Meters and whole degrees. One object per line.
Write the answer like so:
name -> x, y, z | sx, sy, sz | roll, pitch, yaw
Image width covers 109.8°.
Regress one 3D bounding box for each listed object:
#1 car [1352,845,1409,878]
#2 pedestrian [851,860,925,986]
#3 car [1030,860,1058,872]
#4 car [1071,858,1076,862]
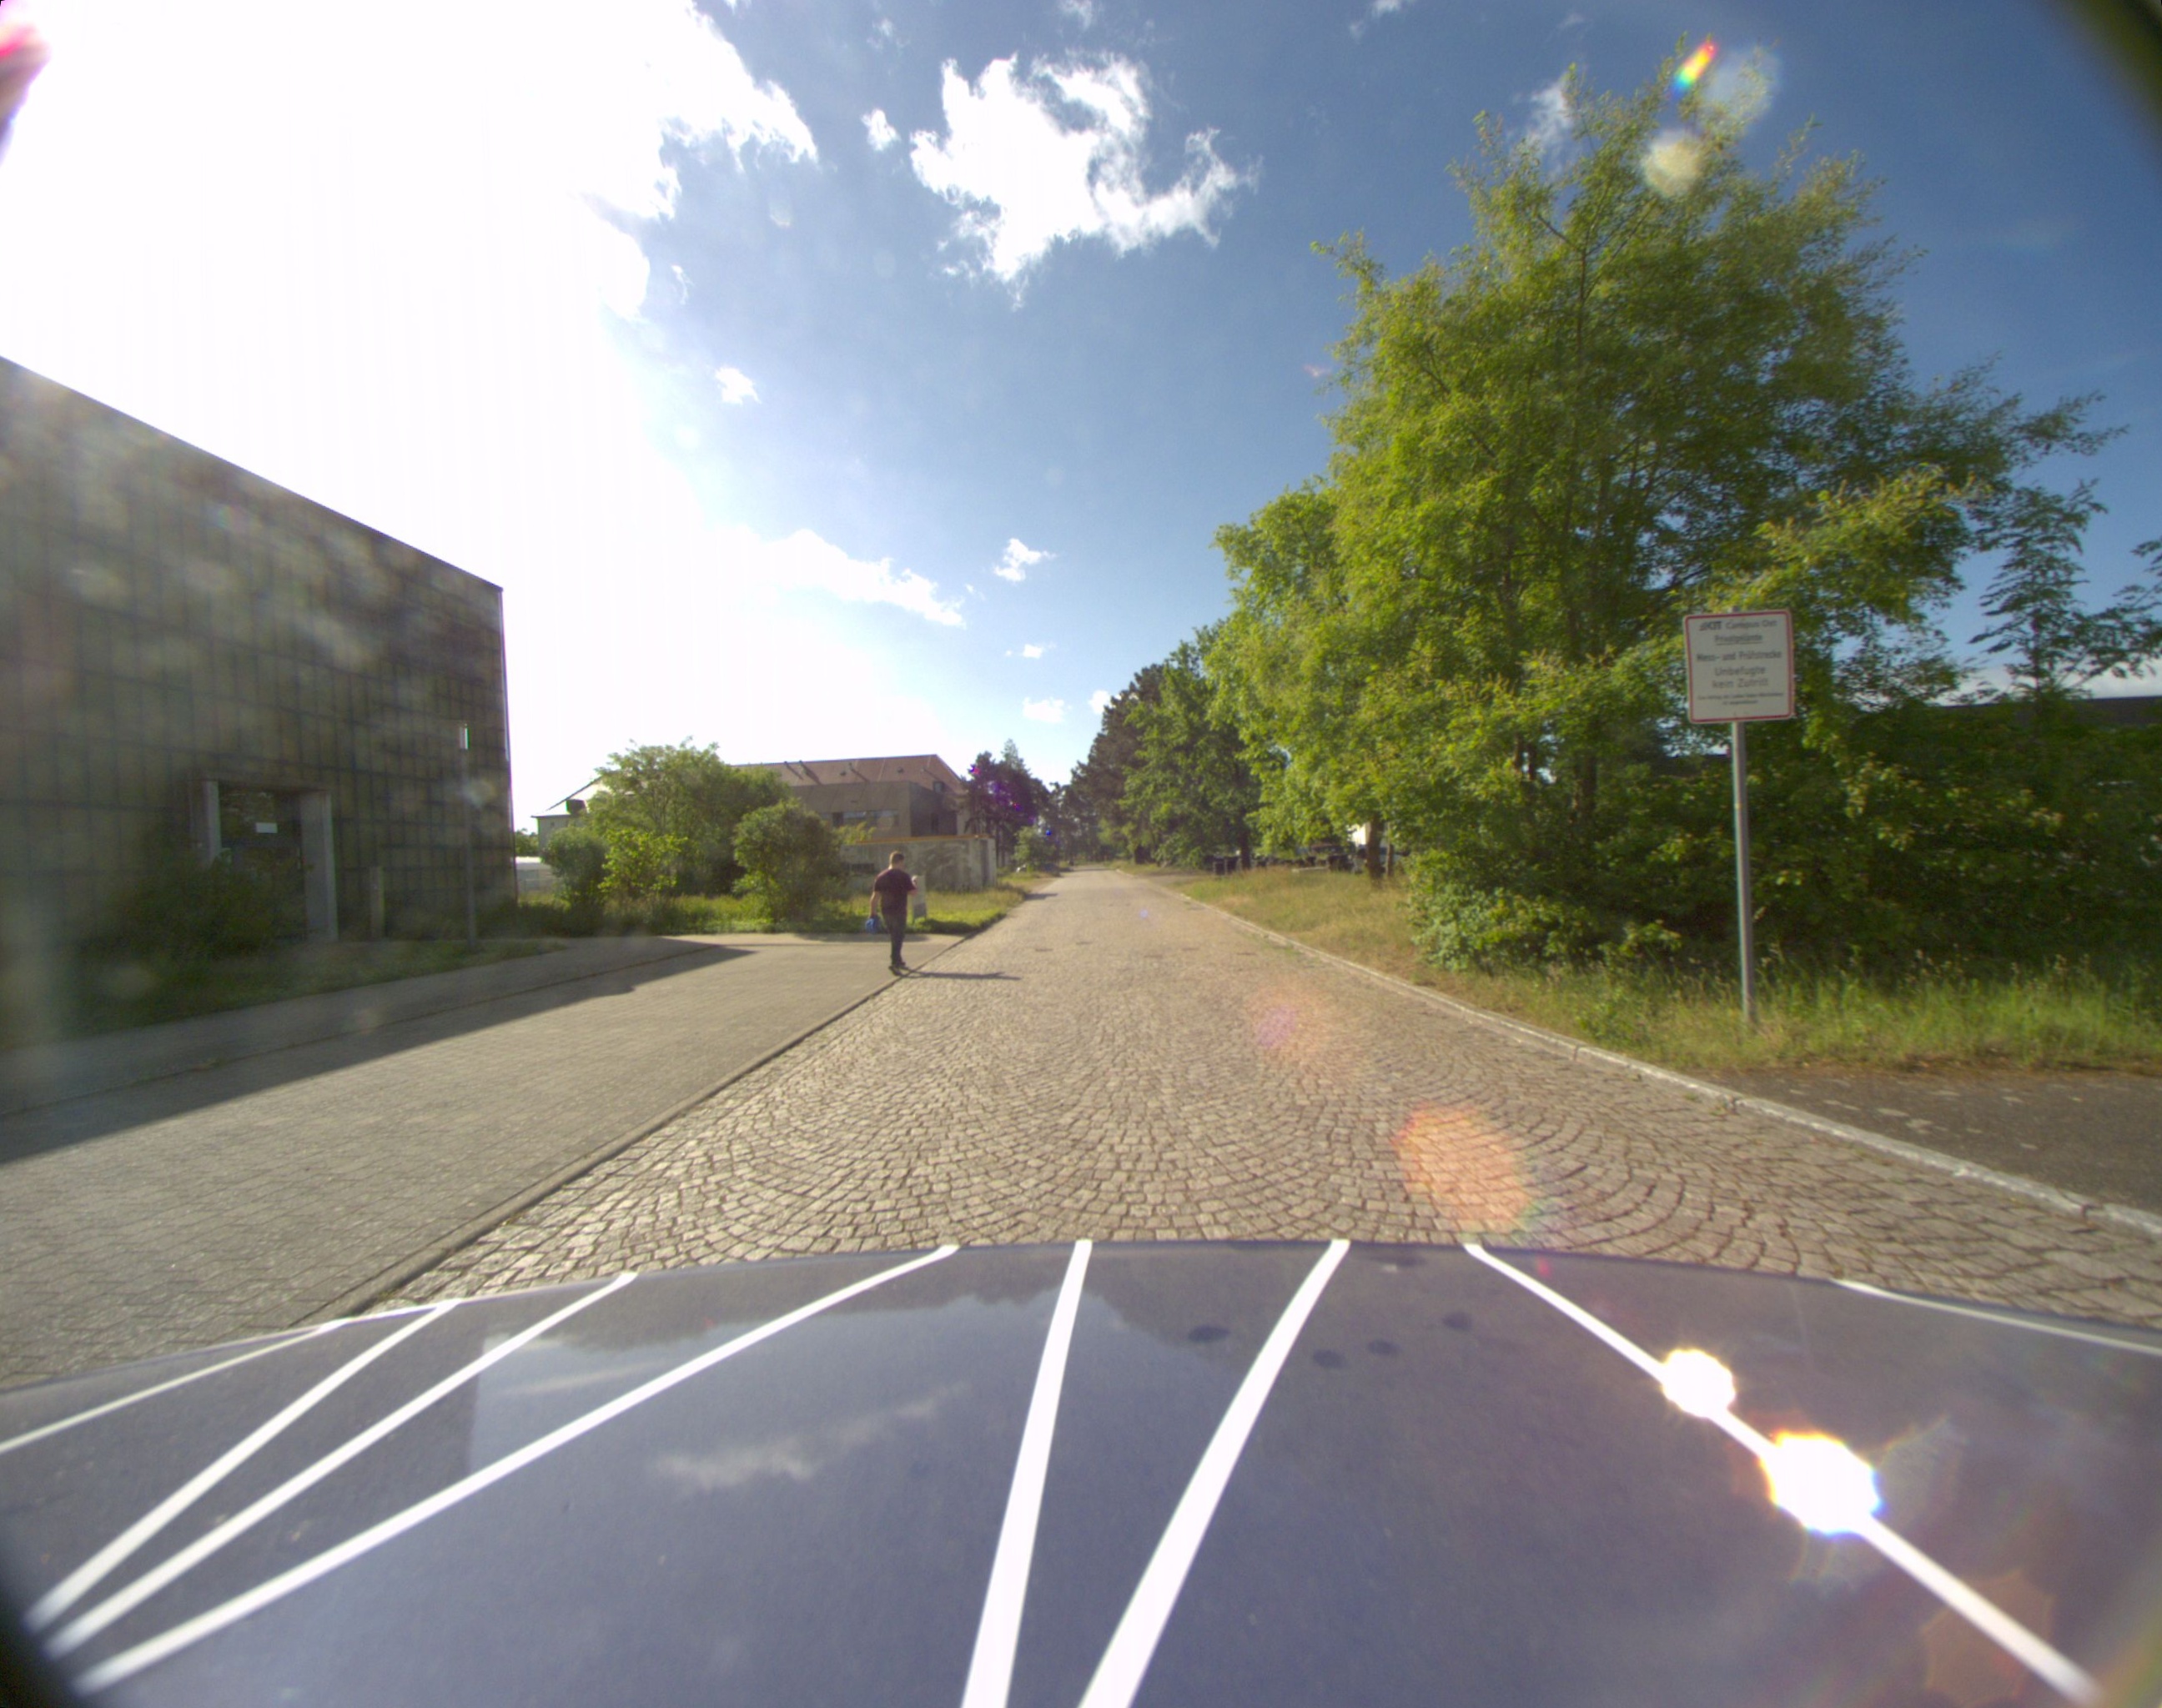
car -> 13.797, 0.318, 35.149 | 1.544, 1.398, 3.579 | -3, 0, 7
pedestrian -> -2.838, 0.981, 11.279 | 0.797, 1.770, 1.068 | -1, 0, -1
car -> -4.109, 1.336, 84.404 | 2.911, 1.252, 1.287 | -3, 0, -8
car -> -1.987, 1.552, 199.728 | 1.373, 1.092, 2.862 | -3, 0, -2
